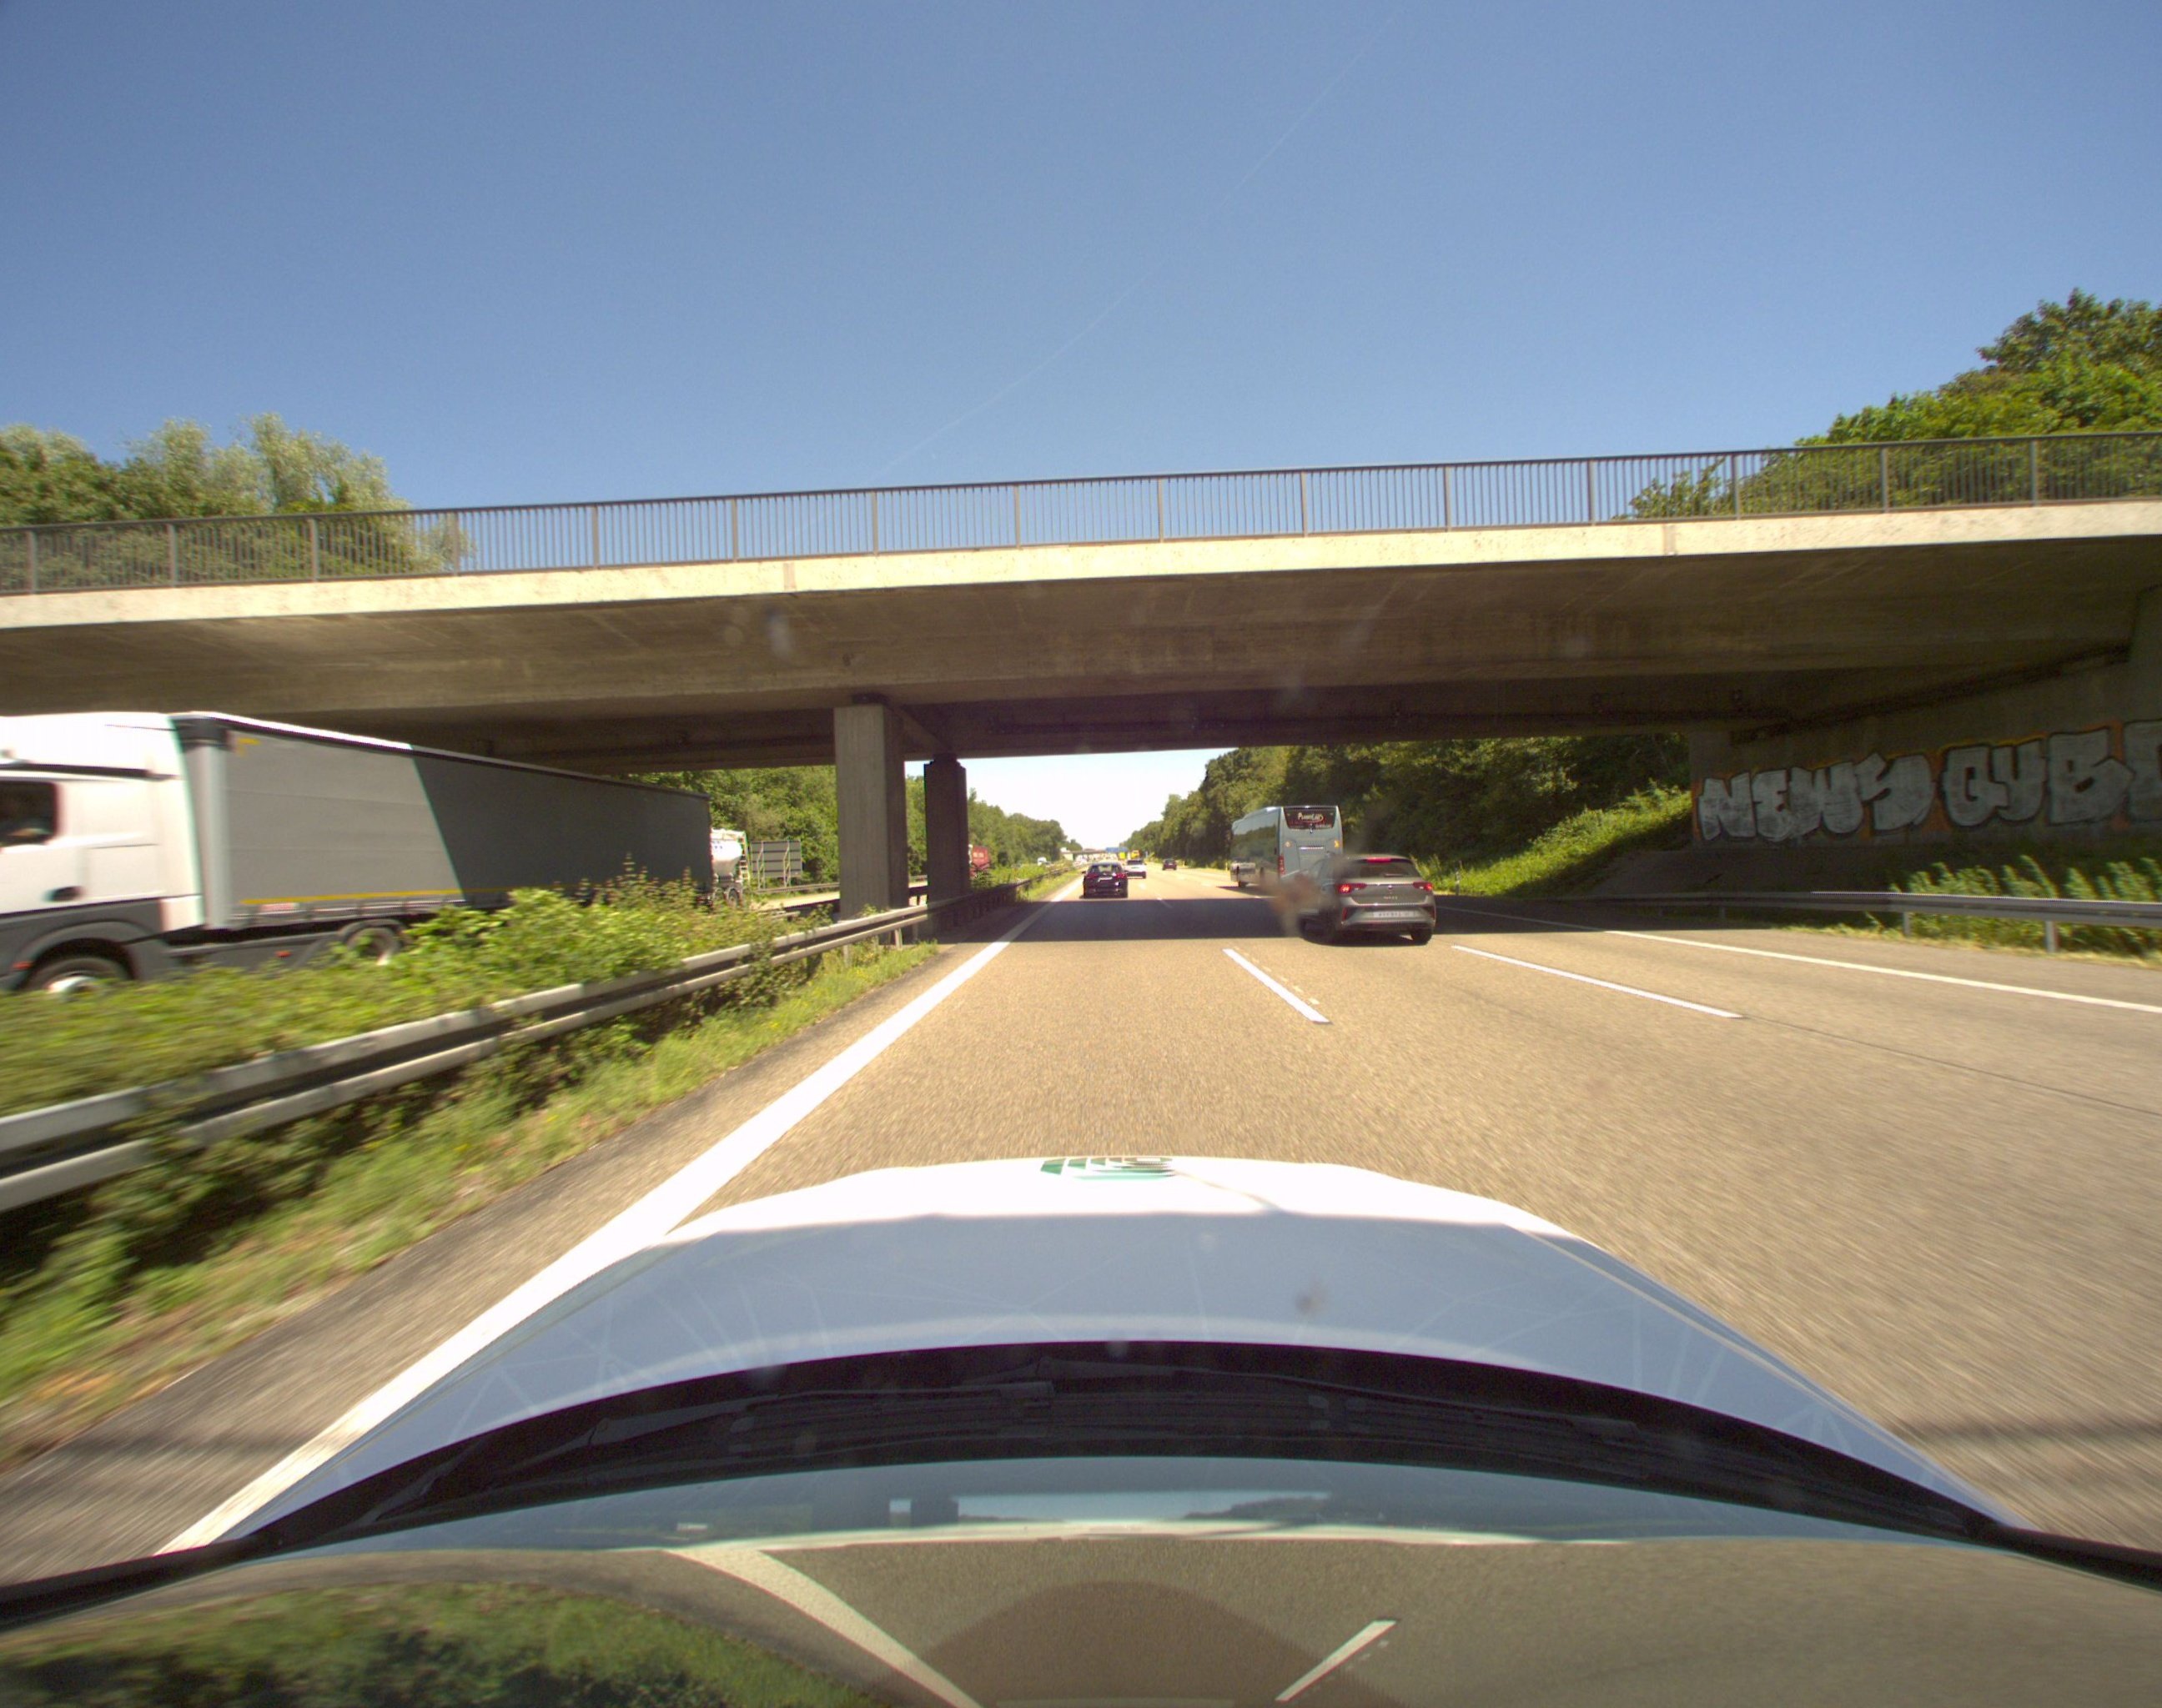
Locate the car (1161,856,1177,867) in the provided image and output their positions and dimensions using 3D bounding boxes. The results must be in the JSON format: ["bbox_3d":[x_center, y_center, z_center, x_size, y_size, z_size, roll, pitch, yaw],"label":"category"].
[{"bbox_3d":[11.476,0.959,106.035,1.782,1.461,3.952,-1,0,3],"label":"car"}]

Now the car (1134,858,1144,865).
[{"bbox_3d":[13.293,1.760,187.382,2.072,1.532,4.244,-1,0,3],"label":"car"}]

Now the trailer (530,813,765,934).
[{"bbox_3d":[-16.521,0.647,32.653,2.350,3.794,12.079,-4,0,2],"label":"trailer"}]

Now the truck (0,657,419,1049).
[{"bbox_3d":[-12.915,0.063,10.970,2.818,4.211,5.891,-4,0,2],"label":"truck"}]

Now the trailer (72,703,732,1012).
[{"bbox_3d":[-12.659,0.060,18.534,2.818,4.224,13.841,-4,0,2],"label":"trailer"}]

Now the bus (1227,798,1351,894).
[{"bbox_3d":[8.972,-0.270,37.008,2.791,3.596,12.480,-1,0,2],"label":"bus"}]

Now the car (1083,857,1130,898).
[{"bbox_3d":[1.019,0.904,33.318,1.793,1.502,4.242,-1,0,1],"label":"car"}]

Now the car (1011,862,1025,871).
[{"bbox_3d":[-10.838,2.209,140.971,1.842,1.450,4.872,-3,0,1],"label":"car"}]

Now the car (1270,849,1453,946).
[{"bbox_3d":[5.075,0.709,15.505,1.892,1.532,4.760,-1,0,1],"label":"car"}]

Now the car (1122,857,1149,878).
[{"bbox_3d":[4.240,1.053,64.371,1.892,1.532,4.242,-1,0,1],"label":"car"}]

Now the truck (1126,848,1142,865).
[{"bbox_3d":[15.335,0.718,236.520,3.634,4.590,15.768,-1,0,1],"label":"truck"}]

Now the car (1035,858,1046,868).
[{"bbox_3d":[-10.498,2.391,211.902,2.079,2.552,6.230,-3,0,2],"label":"car"}]

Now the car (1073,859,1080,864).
[{"bbox_3d":[-1.433,2.389,246.076,1.831,1.383,4.429,-3,0,2],"label":"car"}]

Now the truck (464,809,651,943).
[{"bbox_3d":[-16.727,0.638,26.475,2.351,3.775,5.254,-4,0,2],"label":"truck"}]

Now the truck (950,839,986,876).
[{"bbox_3d":[-13.232,0.397,95.962,3.205,4.059,5.620,-2,-1,1],"label":"truck"}]

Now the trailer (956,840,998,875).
[{"bbox_3d":[-13.036,0.457,103.477,3.205,4.059,12.745,-2,0,1],"label":"trailer"}]
